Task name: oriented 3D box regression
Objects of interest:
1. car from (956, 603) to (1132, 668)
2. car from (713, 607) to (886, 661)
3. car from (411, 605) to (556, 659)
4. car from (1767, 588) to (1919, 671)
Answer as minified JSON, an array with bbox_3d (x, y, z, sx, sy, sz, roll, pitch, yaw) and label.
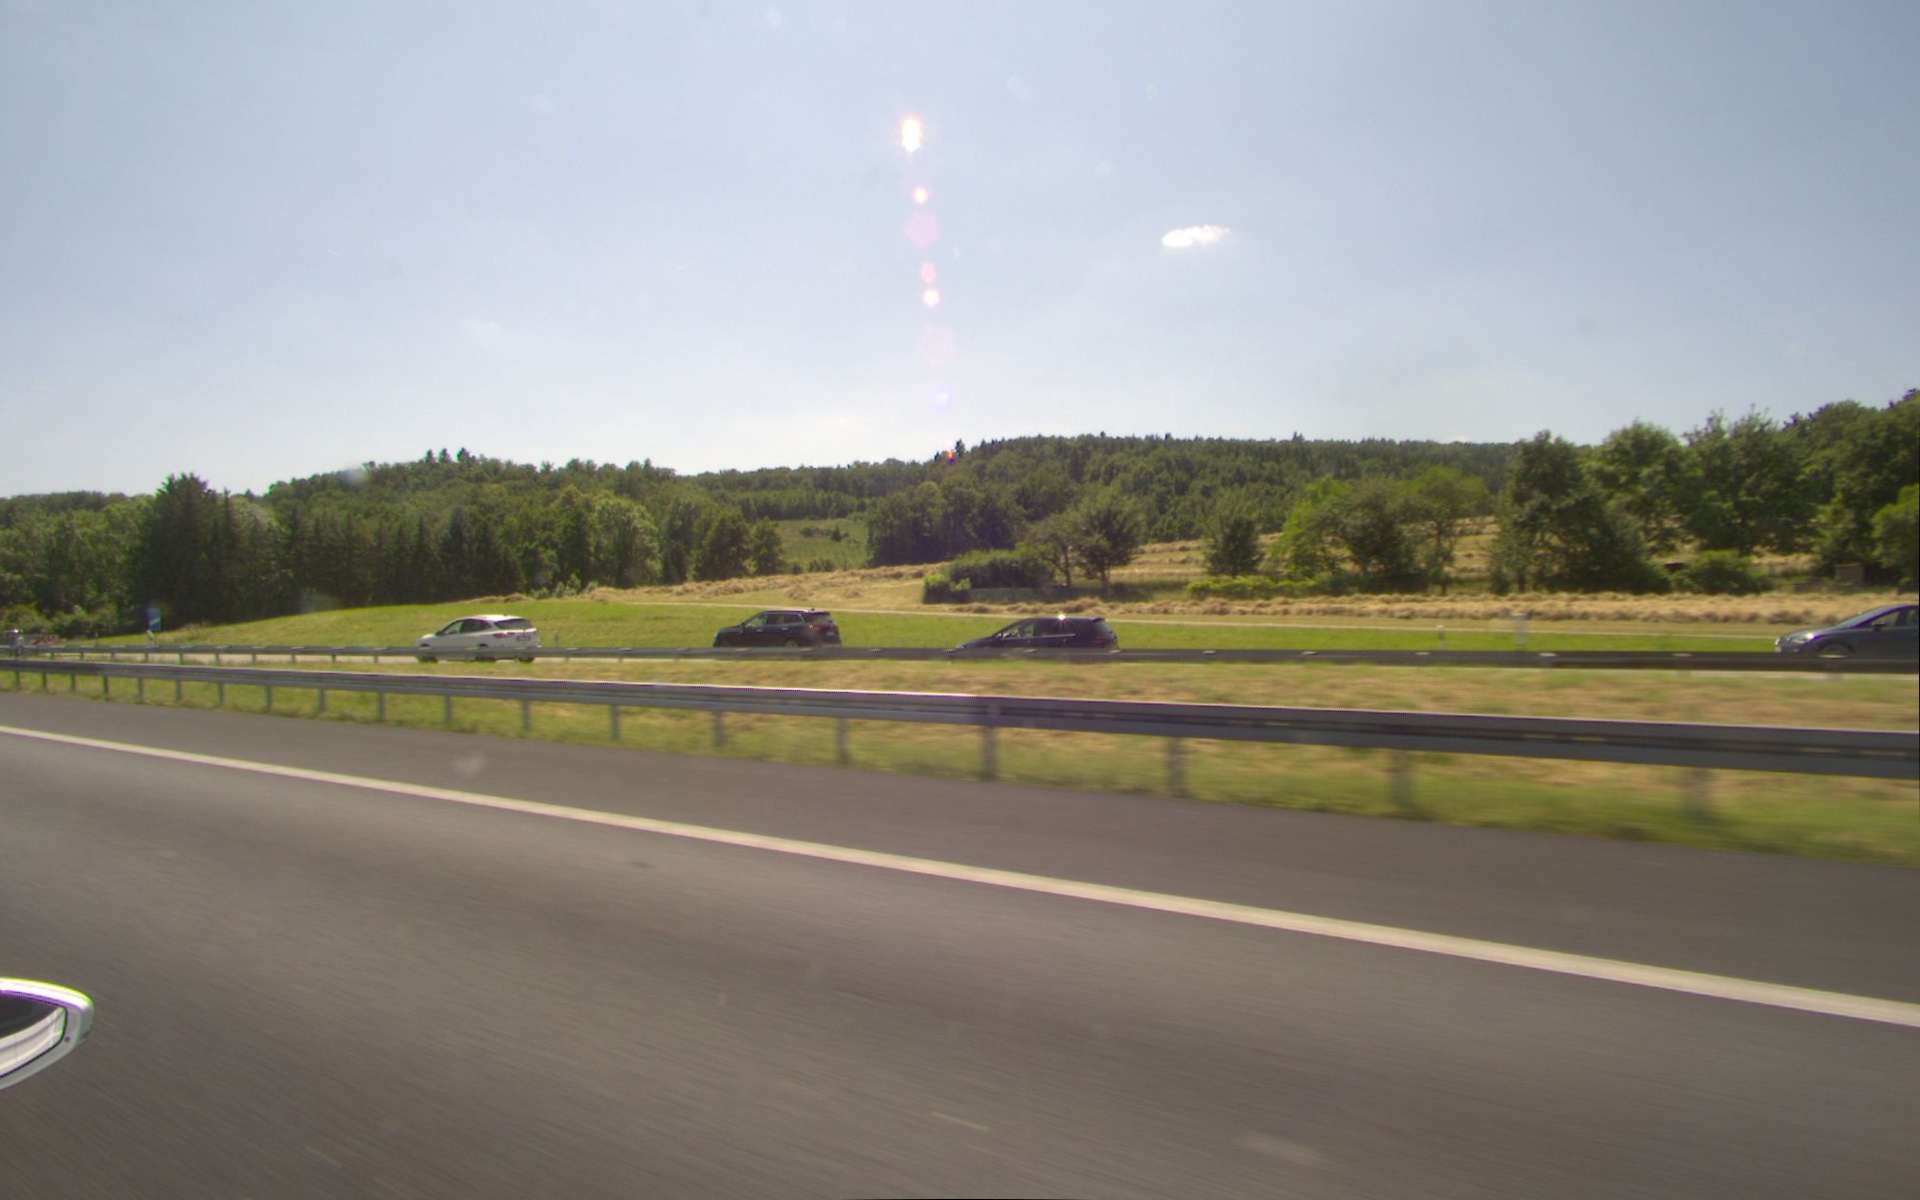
[{"bbox_3d":[2.037,0.889,24.317,3.902,1.453,1.795,-2,-2,25],"label":"car"},{"bbox_3d":[-5.327,1.136,33.078,5.537,1.683,1.994,-1,-2,26],"label":"car"},{"bbox_3d":[-15.855,1.073,33.316,4.393,1.683,1.995,-1,-2,24],"label":"car"},{"bbox_3d":[20.349,0.611,20.907,5.151,1.683,1.991,-1,-2,31],"label":"car"}]
